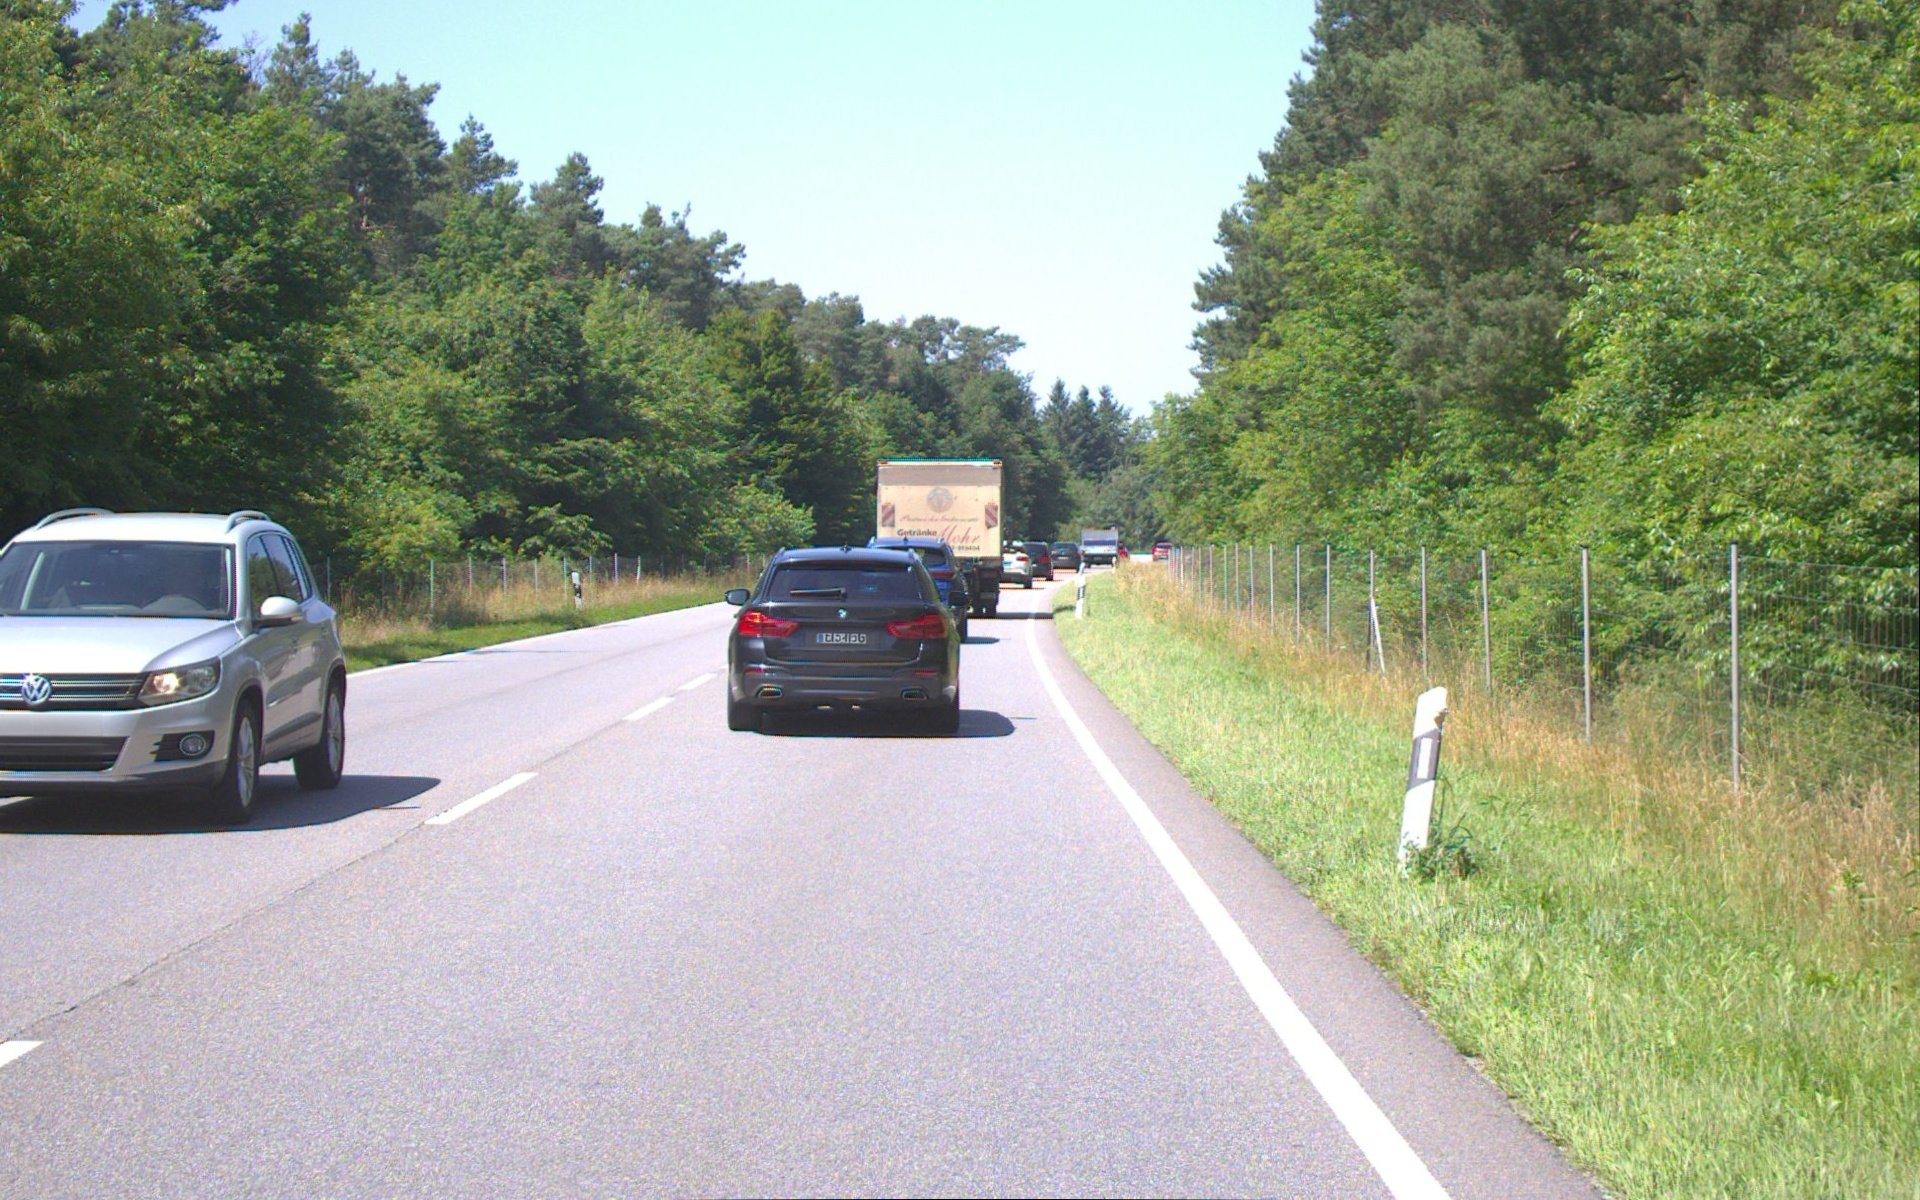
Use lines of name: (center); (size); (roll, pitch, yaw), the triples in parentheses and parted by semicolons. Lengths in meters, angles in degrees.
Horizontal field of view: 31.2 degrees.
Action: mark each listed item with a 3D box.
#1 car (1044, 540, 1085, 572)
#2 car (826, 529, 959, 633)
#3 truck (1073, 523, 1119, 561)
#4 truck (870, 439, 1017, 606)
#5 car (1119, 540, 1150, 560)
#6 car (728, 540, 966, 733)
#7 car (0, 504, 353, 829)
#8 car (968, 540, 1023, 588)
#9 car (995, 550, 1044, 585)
car: (5.498, -2.308, 180.468); (1.994, 1.631, 4.000); (-1, 1, 4)
car: (-1.025, -0.331, 53.877); (1.947, 1.536, 4.000); (-1, 1, 0)
truck: (8.149, -3.501, 205.564); (2.564, 2.194, 4.973); (-1, 2, 4)
truck: (-0.404, -1.638, 72.662); (2.965, 3.376, 6.439); (0, 1, -1)
car: (11.943, -3.419, 235.418); (1.795, 1.349, 3.928); (0, 1, 7)
car: (-0.919, 0.244, 28.396); (1.820, 1.465, 4.000); (0, 1, -2)
car: (-4.641, 0.283, 19.225); (1.863, 1.623, 4.093); (0, 1, -1)
car: (1.214, -1.259, 118.060); (1.863, 1.600, 4.000); (0, 1, 0)
car: (2.480, -1.368, 143.935); (1.993, 1.415, 4.000); (-1, 1, 0)
